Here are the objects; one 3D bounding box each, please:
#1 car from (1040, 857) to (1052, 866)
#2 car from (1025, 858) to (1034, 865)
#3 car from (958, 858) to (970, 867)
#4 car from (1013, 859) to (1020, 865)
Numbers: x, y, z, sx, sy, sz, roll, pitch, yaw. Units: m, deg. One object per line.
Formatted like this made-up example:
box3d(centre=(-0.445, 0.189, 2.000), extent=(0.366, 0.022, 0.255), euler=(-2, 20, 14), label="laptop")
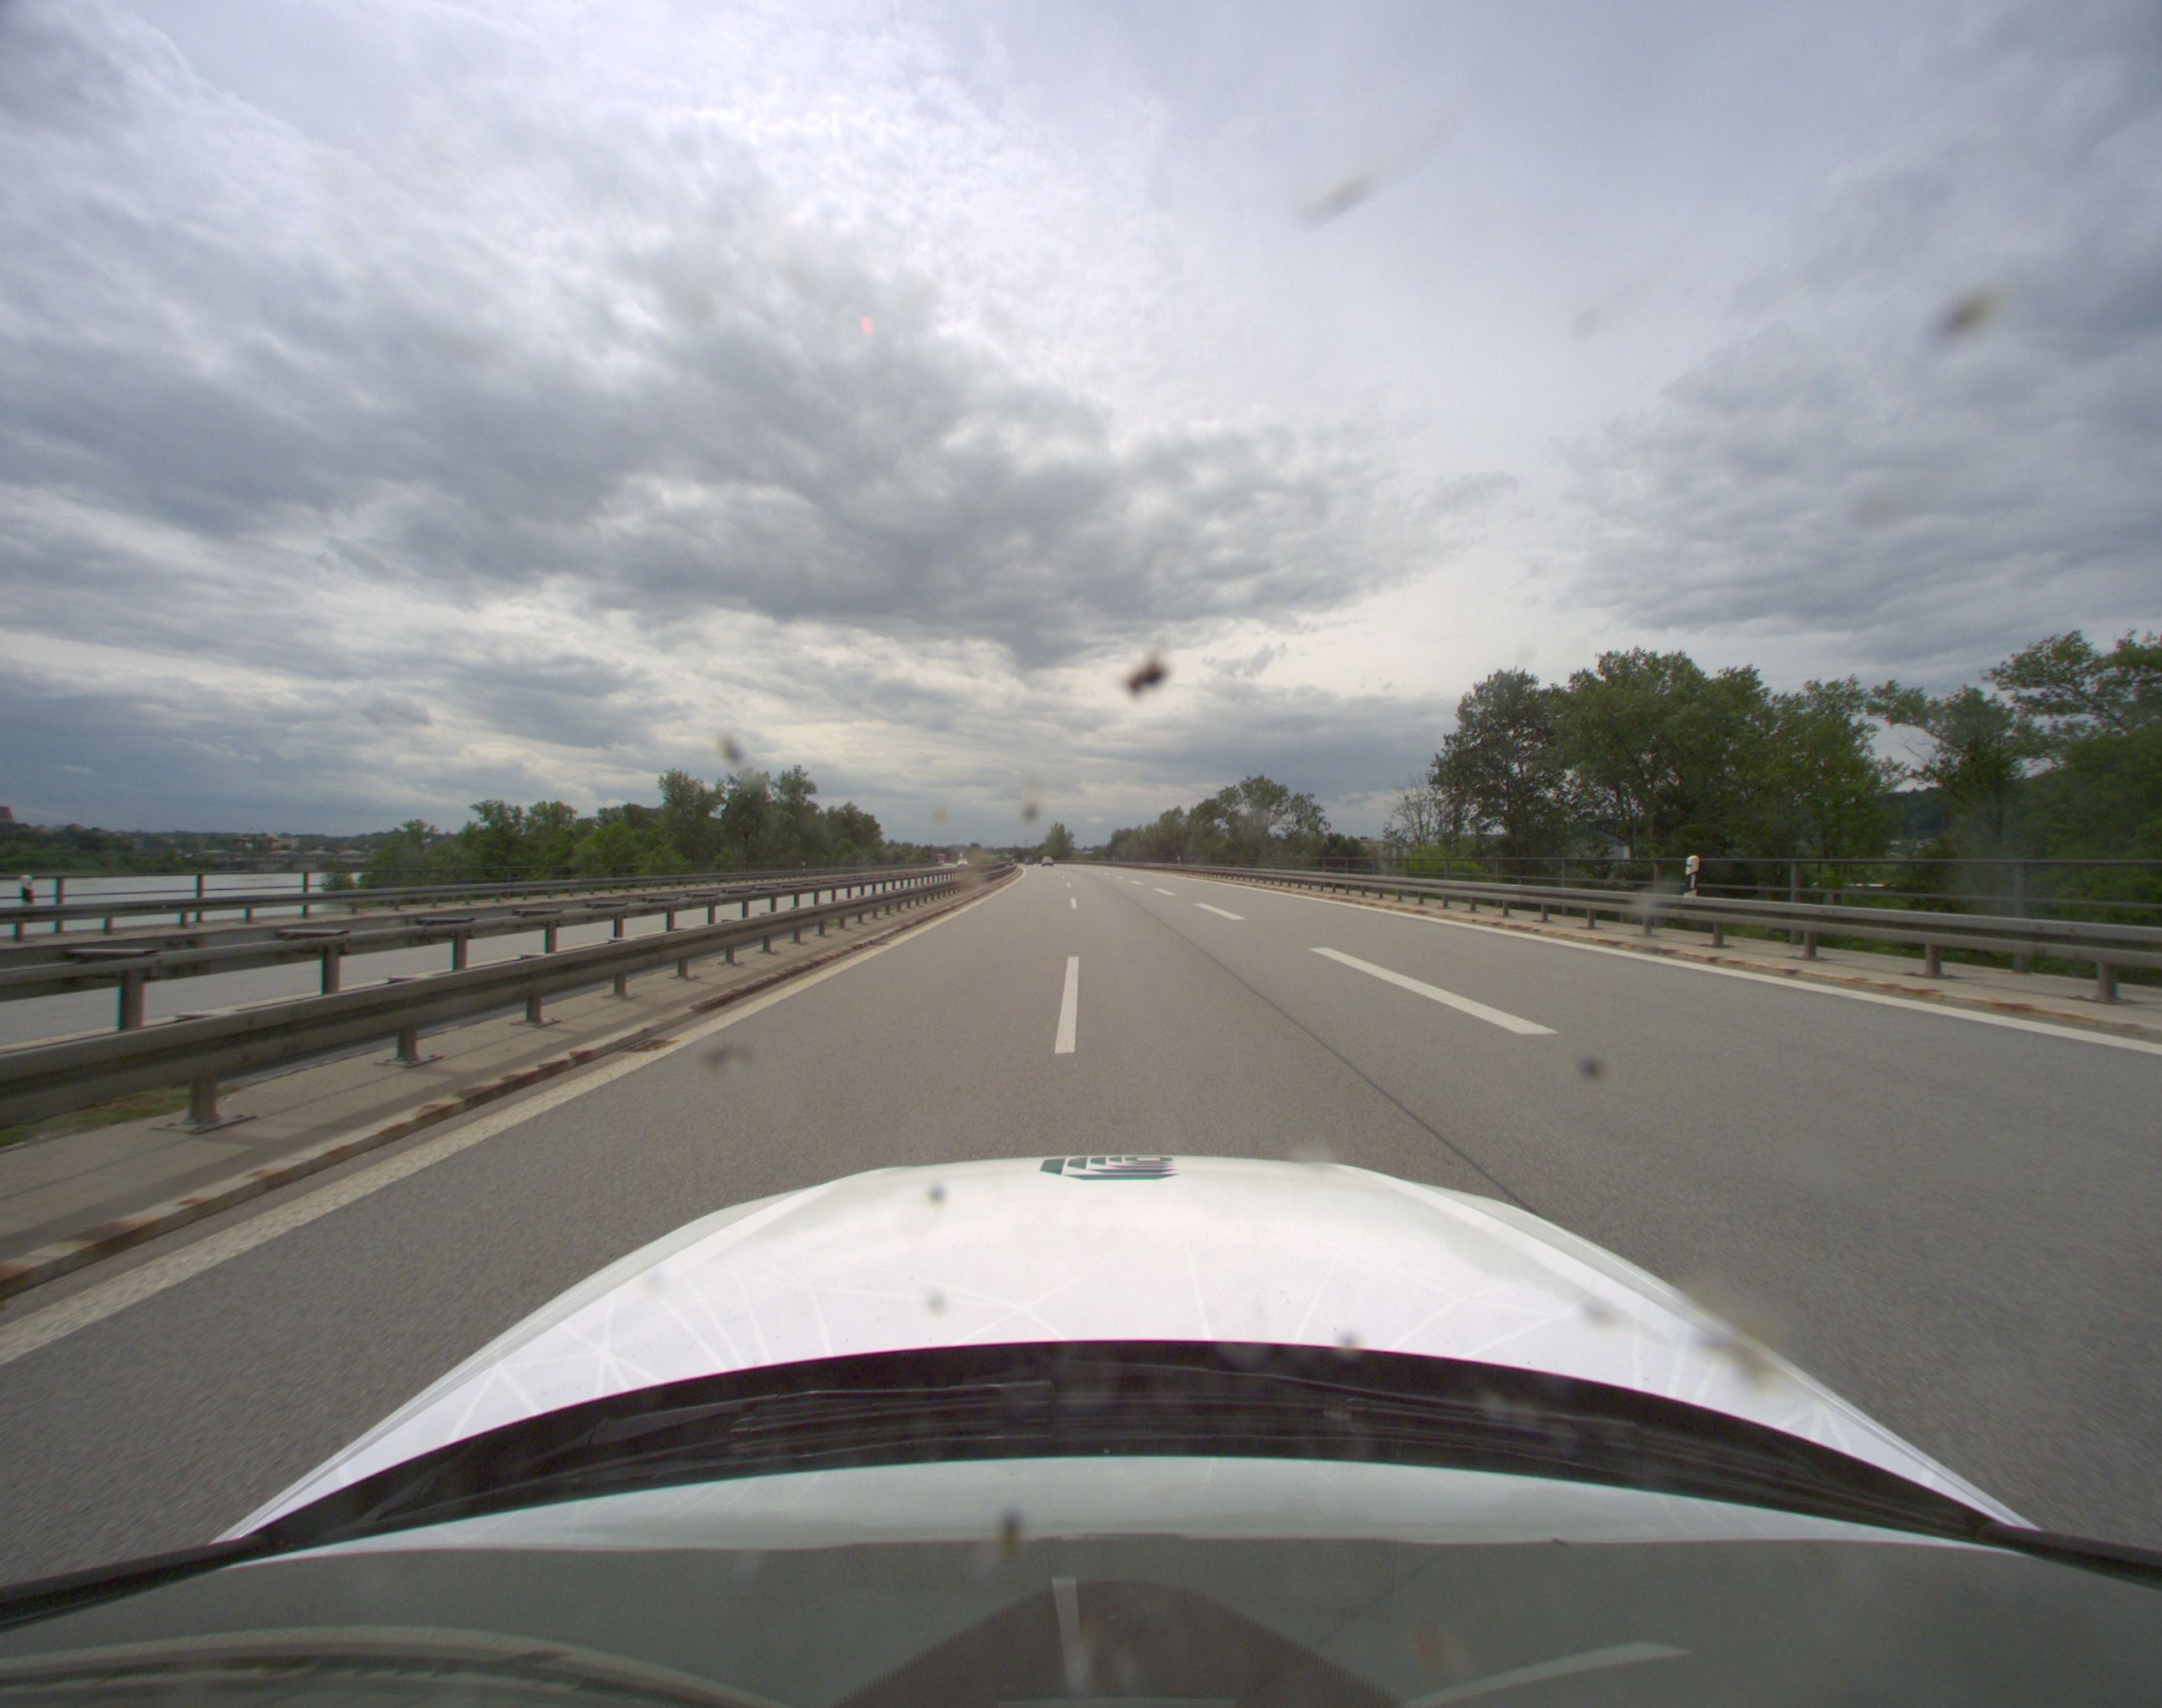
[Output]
box3d(centre=(-6.293, 1.294, 146.143), extent=(1.900, 1.640, 4.386), euler=(-1, 0, -6), label="car")
box3d(centre=(-12.174, 1.785, 192.758), extent=(1.890, 1.640, 4.611), euler=(-1, 0, -6), label="car")
box3d(centre=(-19.457, 1.381, 135.656), extent=(1.528, 1.407, 4.323), euler=(-1, 0, -3), label="car")
box3d(centre=(-18.567, 2.270, 234.162), extent=(1.901, 1.640, 4.766), euler=(-1, -1, -8), label="car")
